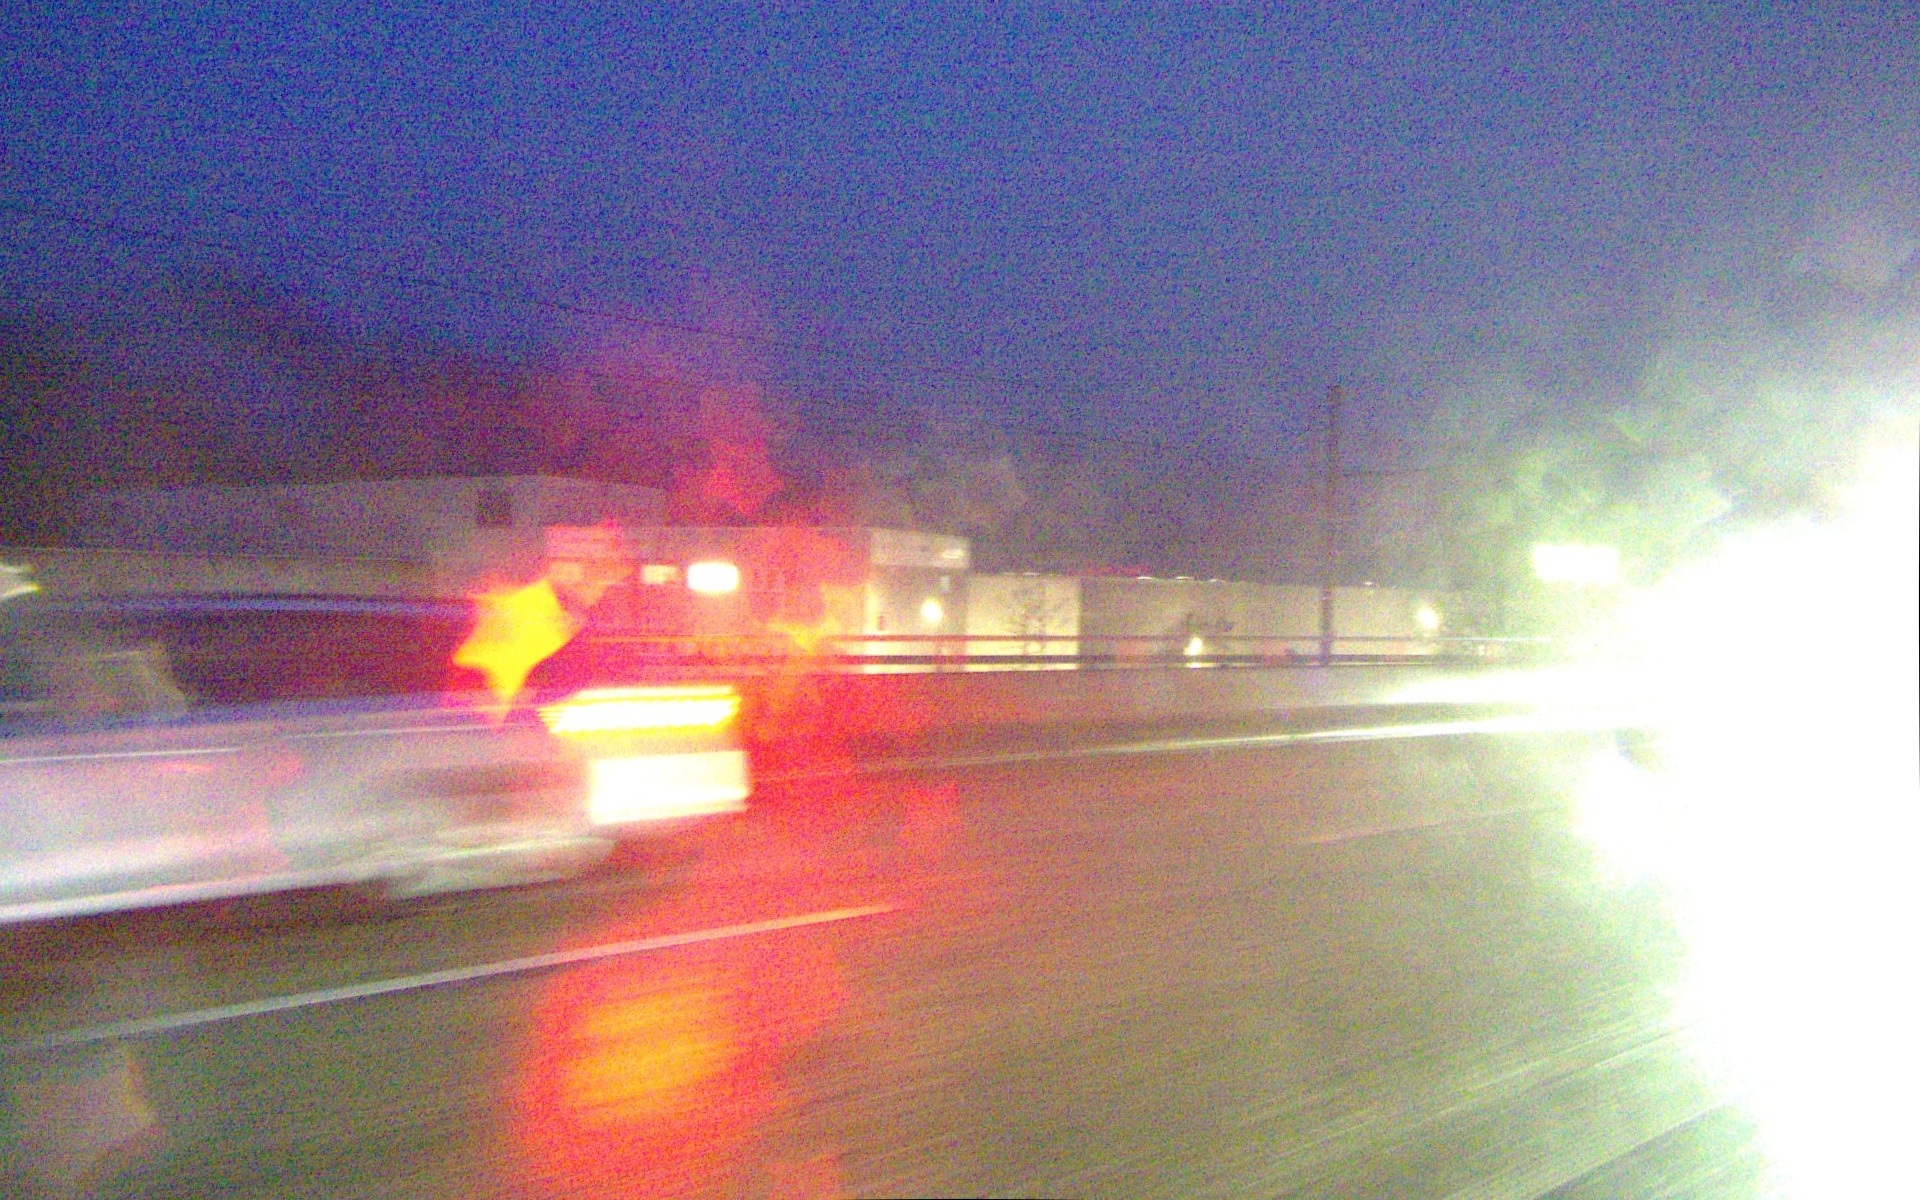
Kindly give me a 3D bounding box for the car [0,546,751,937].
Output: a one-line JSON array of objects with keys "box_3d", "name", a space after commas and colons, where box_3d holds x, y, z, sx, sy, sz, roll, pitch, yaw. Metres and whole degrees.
[{"box_3d": [-3.507, 0.538, 4.923, 4.494, 1.463, 1.908, 1, 0, -31], "name": "car"}]
